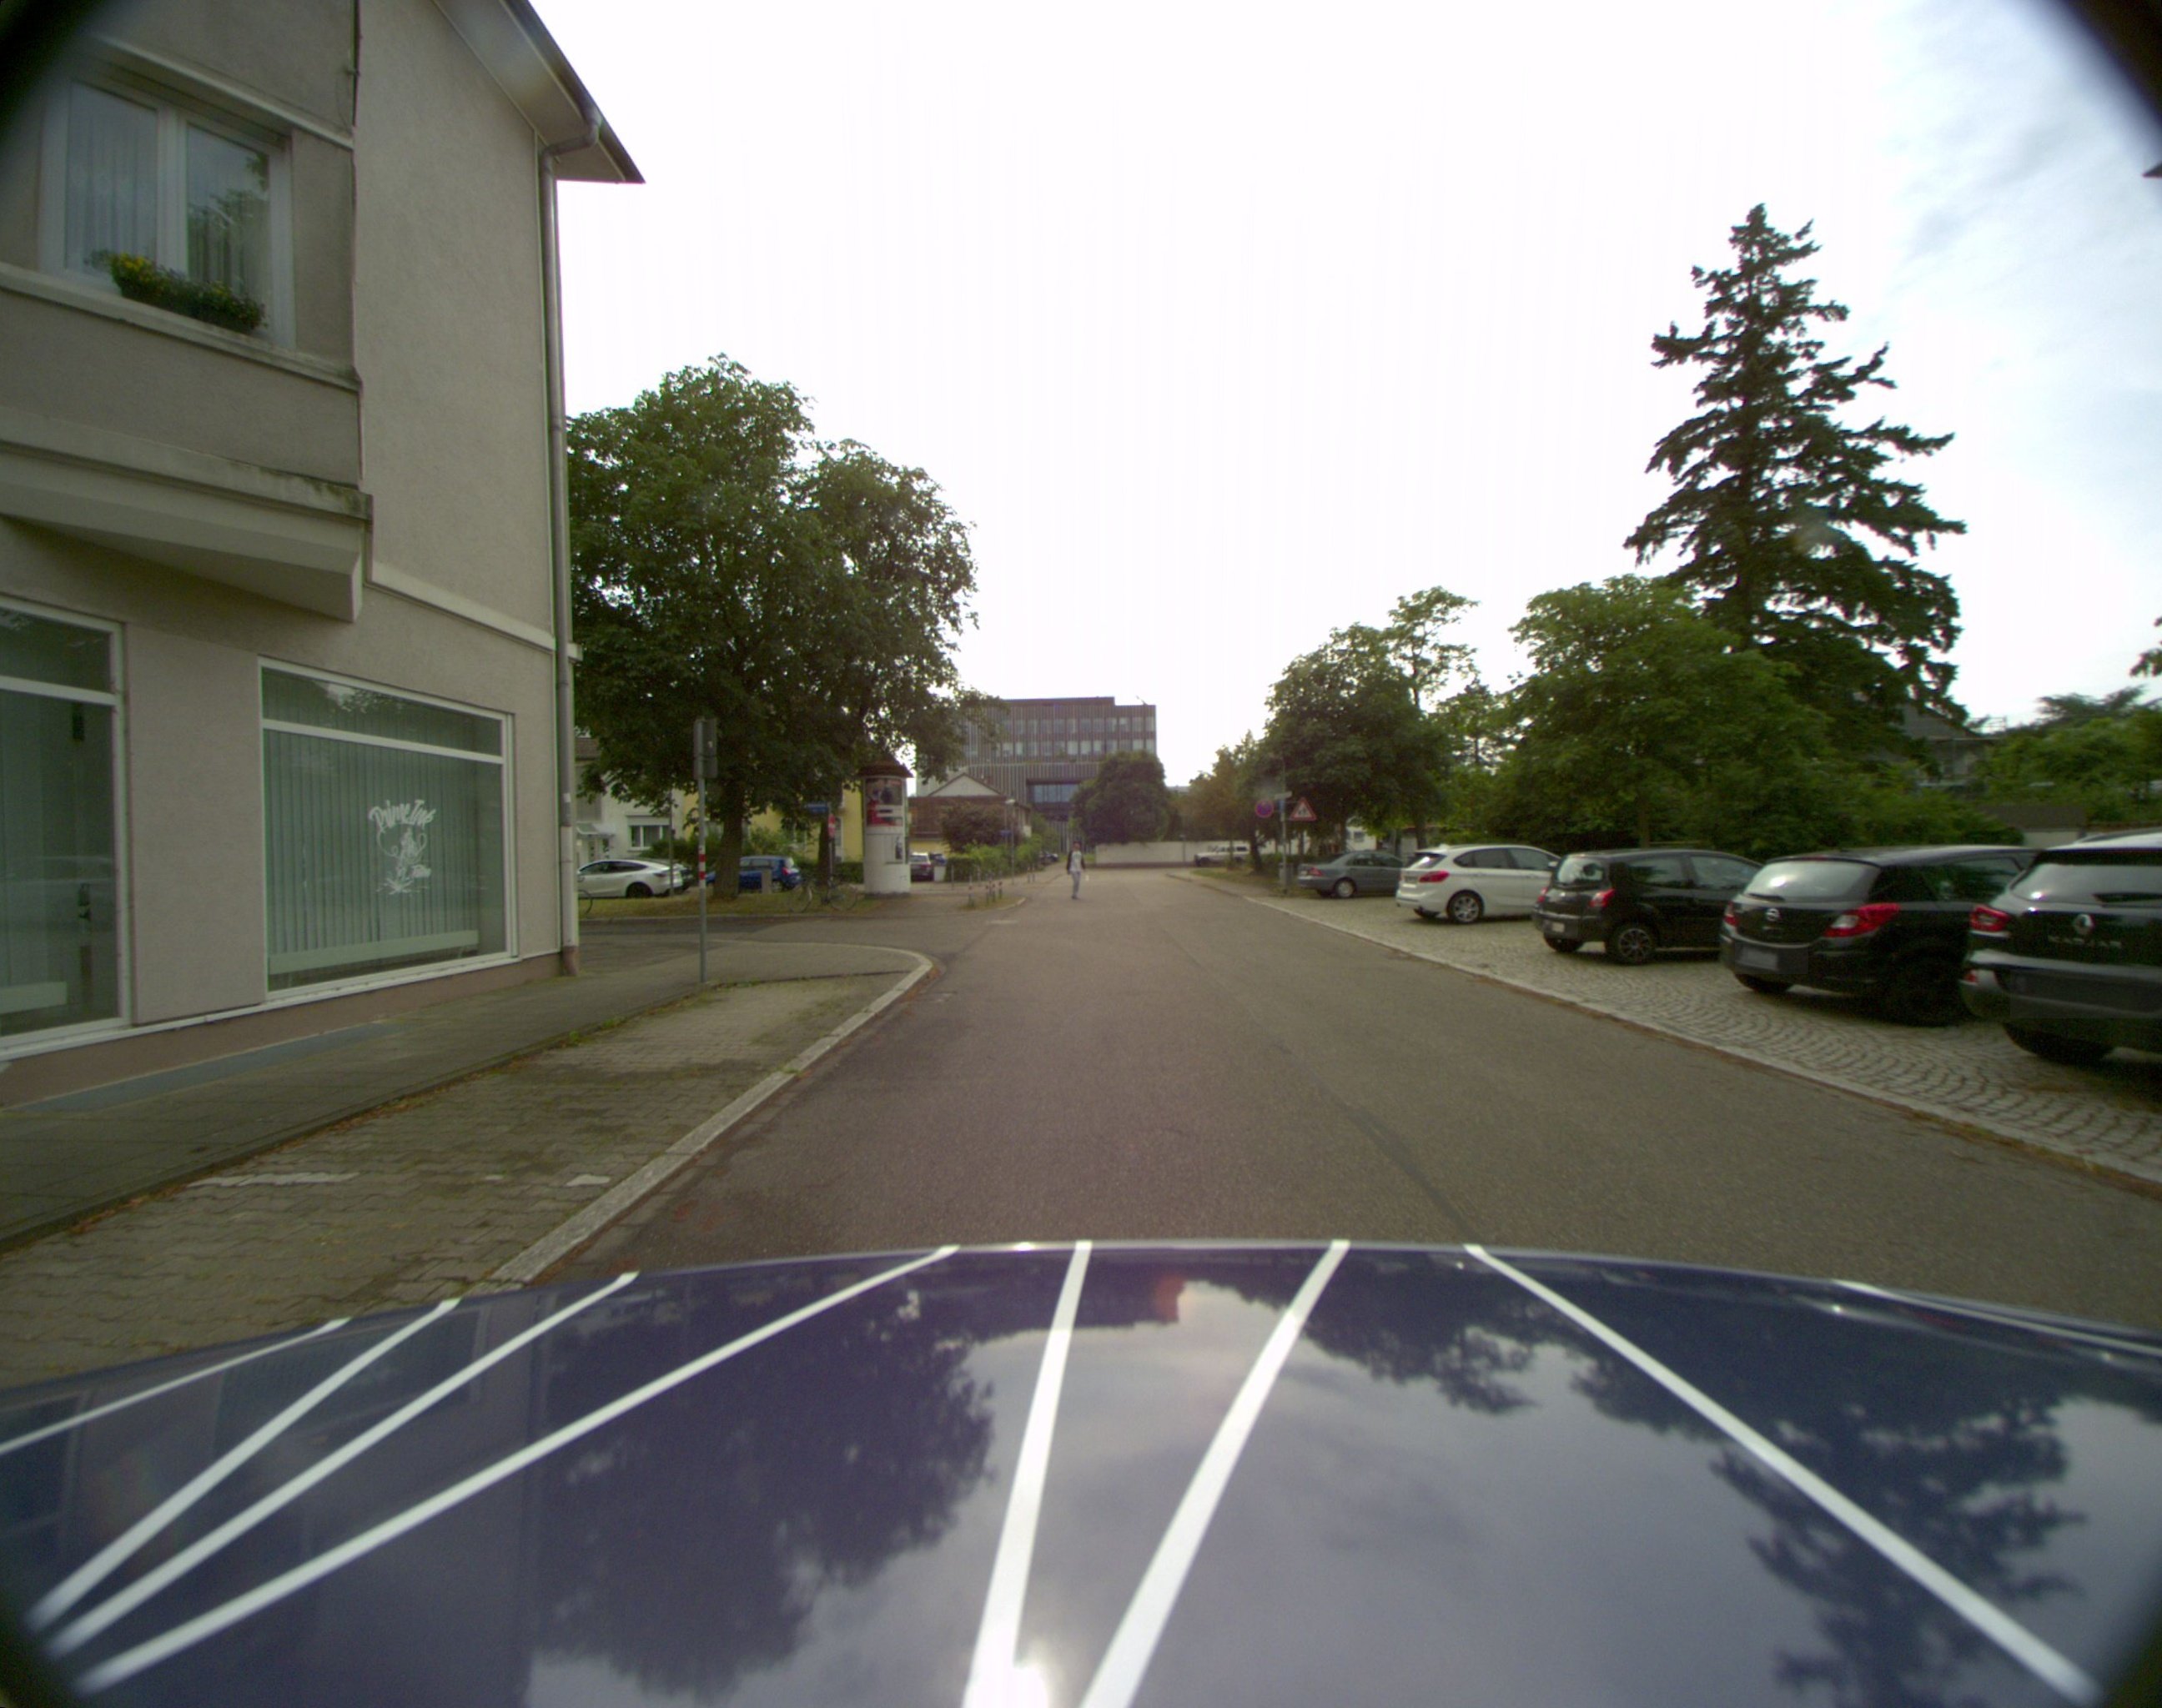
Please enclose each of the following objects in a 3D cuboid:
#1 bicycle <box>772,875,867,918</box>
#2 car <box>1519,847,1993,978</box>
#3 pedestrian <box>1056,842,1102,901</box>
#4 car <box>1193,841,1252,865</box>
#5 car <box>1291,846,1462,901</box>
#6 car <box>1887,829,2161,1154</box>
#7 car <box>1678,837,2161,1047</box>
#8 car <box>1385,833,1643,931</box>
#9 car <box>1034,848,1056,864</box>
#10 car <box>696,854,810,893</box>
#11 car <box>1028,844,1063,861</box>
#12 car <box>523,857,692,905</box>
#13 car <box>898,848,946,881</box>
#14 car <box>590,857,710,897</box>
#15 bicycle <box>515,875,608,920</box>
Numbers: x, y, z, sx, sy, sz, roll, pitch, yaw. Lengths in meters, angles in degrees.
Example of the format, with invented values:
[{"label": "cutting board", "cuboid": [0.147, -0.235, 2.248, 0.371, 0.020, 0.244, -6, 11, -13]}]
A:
[{"label": "bicycle", "cuboid": [-6.646, 1.078, 19.380, 2.182, 0.980, 0.511, -2, 4, -7]}, {"label": "car", "cuboid": [8.714, 0.722, 10.192, 4.555, 1.455, 1.842, -2, 1, 5]}, {"label": "pedestrian", "cuboid": [-0.065, 0.549, 24.241, 0.880, 1.825, 1.216, -2, 1, -36]}, {"label": "car", "cuboid": [11.916, -0.085, 64.216, 4.492, 1.849, 1.998, -1, 3, -3]}, {"label": "car", "cuboid": [8.938, 0.560, 23.191, 4.558, 1.446, 1.679, -2, 1, -4]}, {"label": "car", "cuboid": [7.806, 0.676, 4.402, 4.064, 1.688, 1.917, -2, 1, 5]}, {"label": "car", "cuboid": [8.404, 0.700, 6.919, 4.352, 1.557, 1.842, -2, 1, 5]}, {"label": "car", "cuboid": [8.726, 0.519, 15.581, 4.145, 1.552, 1.884, -4, 2, 1]}, {"label": "car", "cuboid": [-3.698, 0.204, 79.686, 1.998, 1.390, 3.998, -1, 3, 1]}, {"label": "car", "cuboid": [-14.350, 0.836, 33.368, 4.207, 1.558, 1.704, -1, 2, 0]}, {"label": "car", "cuboid": [-4.202, -0.238, 90.281, 3.996, 1.828, 1.999, -1, 3, 2]}, {"label": "car", "cuboid": [-17.206, 0.949, 27.832, 4.882, 1.557, 1.902, -1, 1, -4]}, {"label": "car", "cuboid": [-8.240, 0.503, 39.779, 1.842, 1.601, 3.998, -1, 1, -3]}, {"label": "car", "cuboid": [-18.878, 0.988, 33.438, 4.165, 1.492, 1.718, -2, 3, -5]}, {"label": "bicycle", "cuboid": [-13.361, 1.117, 19.577, 1.884, 1.060, 0.667, -1, 1, -2]}]
